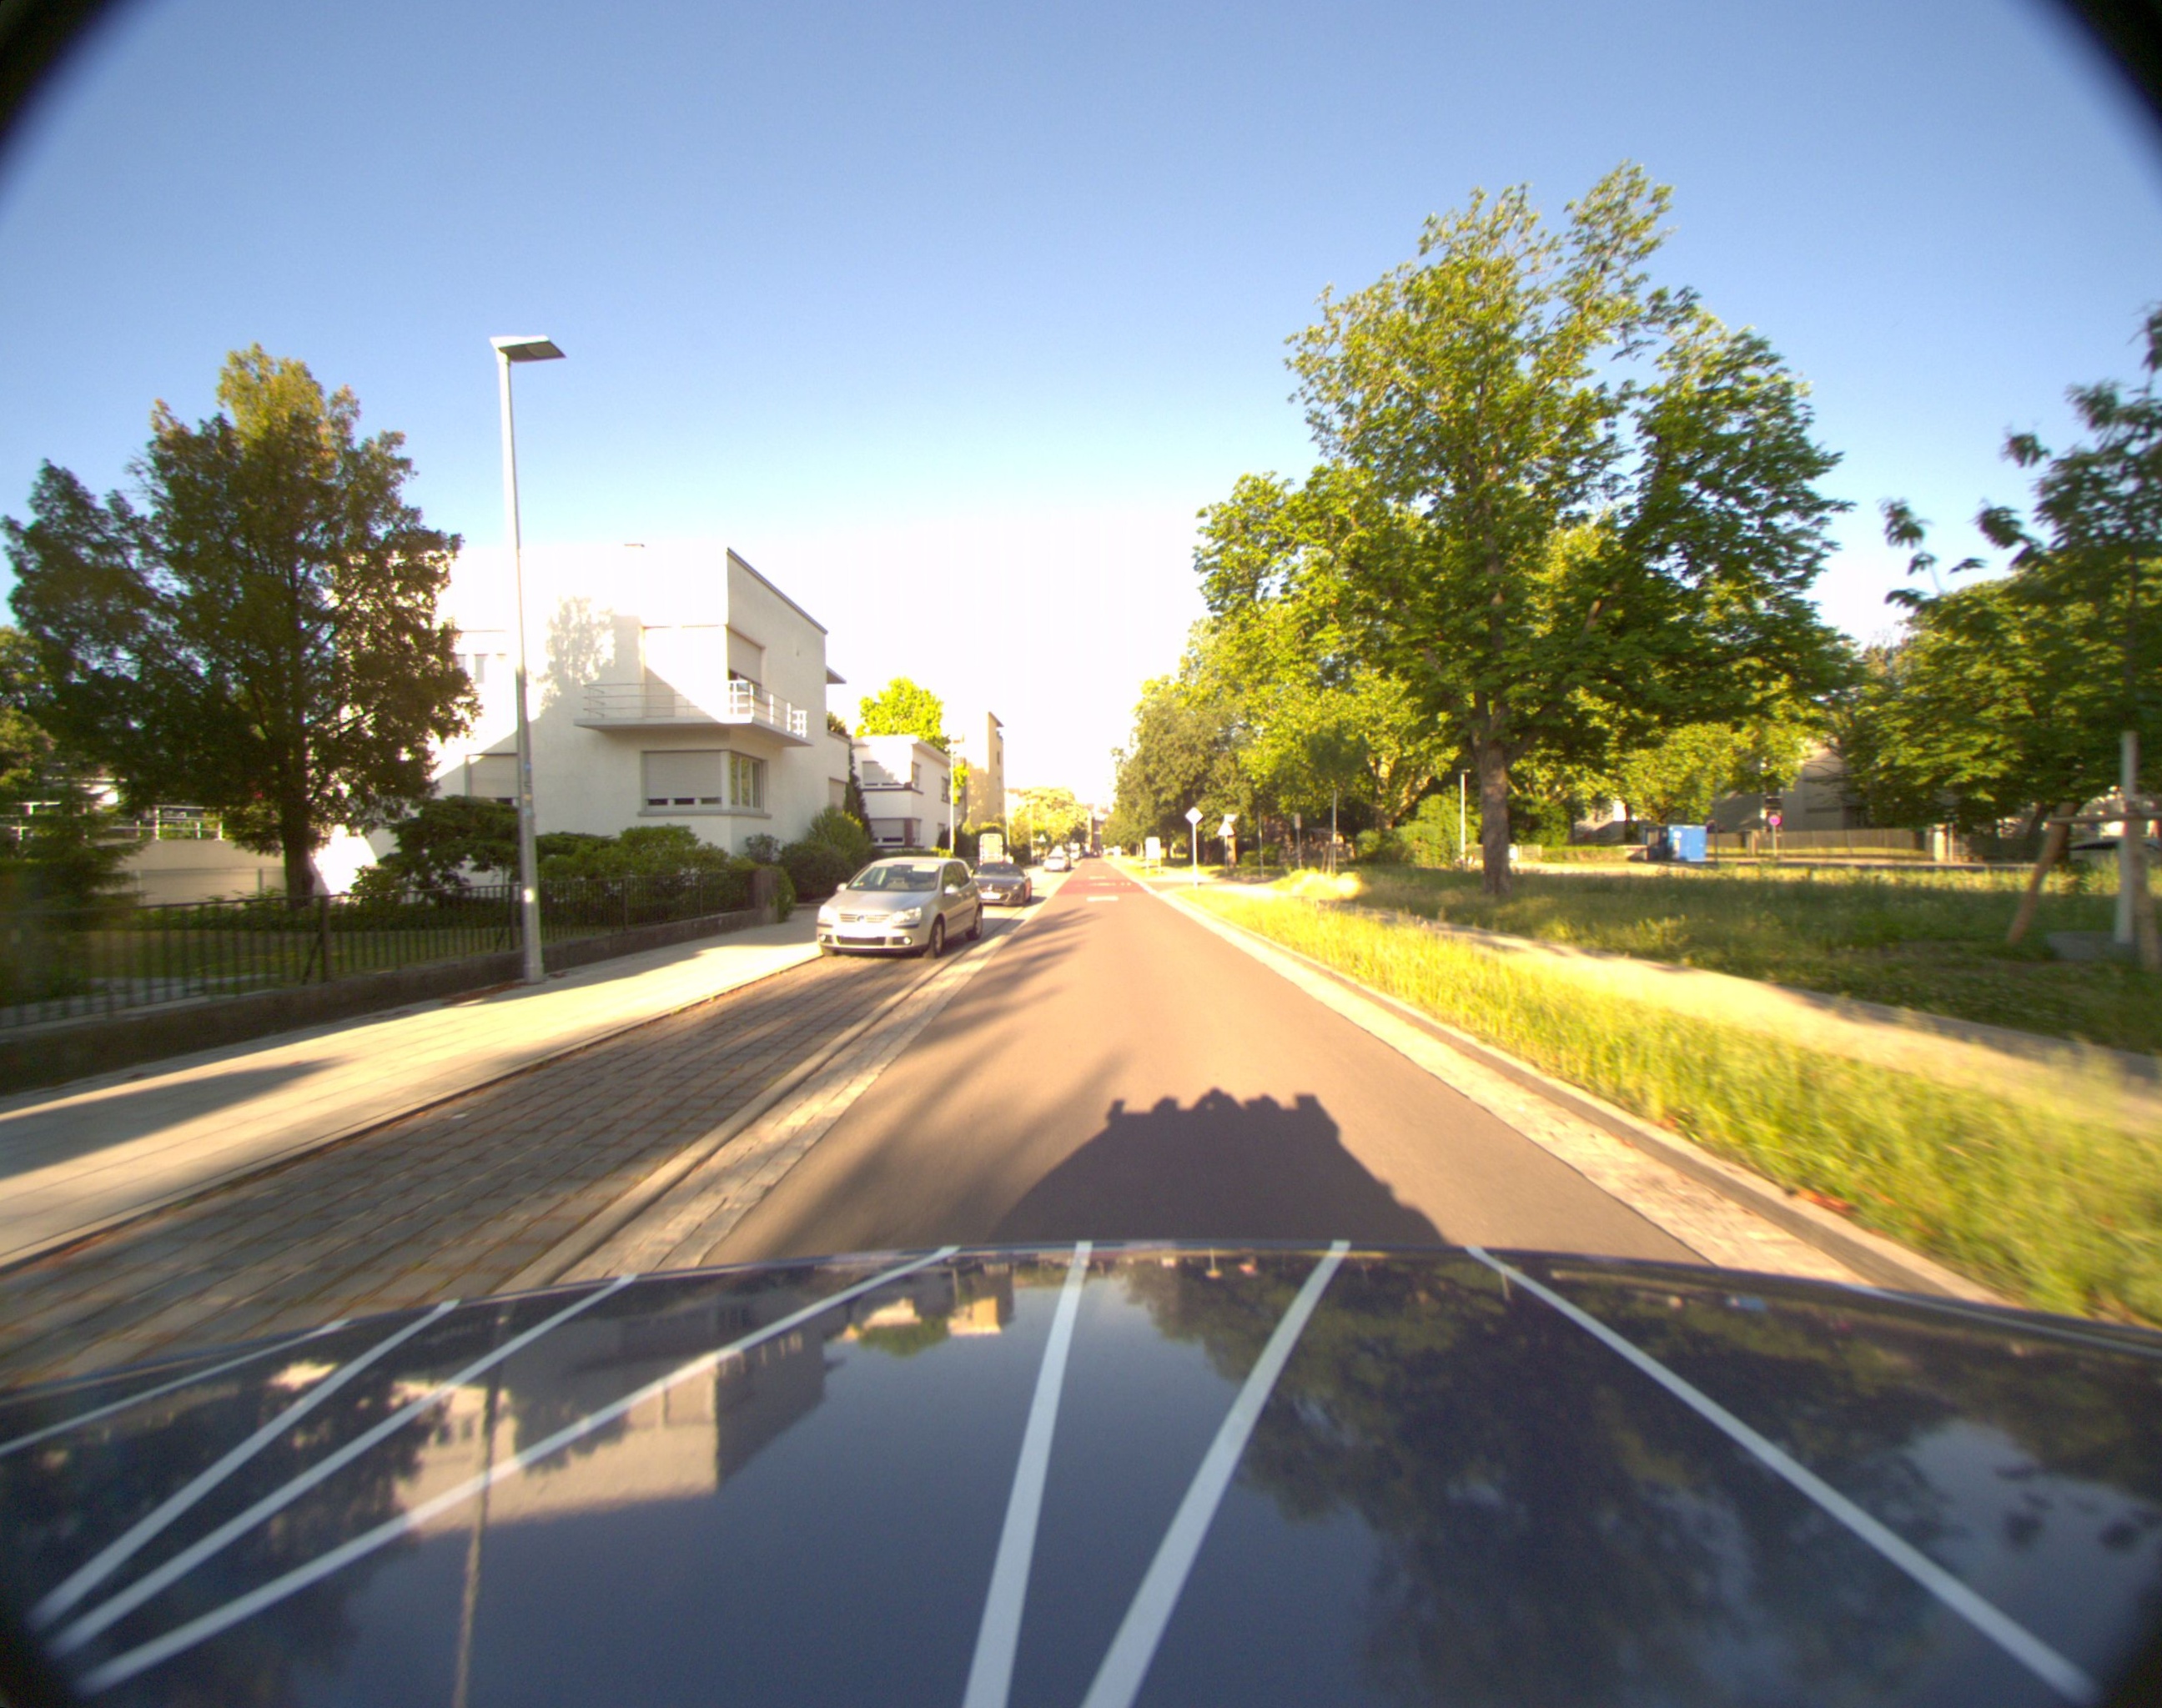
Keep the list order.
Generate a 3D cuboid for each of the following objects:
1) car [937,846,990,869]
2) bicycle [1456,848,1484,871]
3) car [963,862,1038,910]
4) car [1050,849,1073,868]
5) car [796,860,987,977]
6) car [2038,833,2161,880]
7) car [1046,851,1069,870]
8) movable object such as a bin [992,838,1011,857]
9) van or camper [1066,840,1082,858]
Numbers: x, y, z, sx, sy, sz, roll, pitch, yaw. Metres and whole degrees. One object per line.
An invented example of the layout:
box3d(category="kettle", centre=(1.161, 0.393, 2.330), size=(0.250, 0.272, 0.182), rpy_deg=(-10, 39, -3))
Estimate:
box3d(category="car", centre=(-8.698, 0.253, 56.344), size=(3.499, 1.632, 1.644), rpy_deg=(-2, 1, 9))
box3d(category="bicycle", centre=(20.973, 0.285, 40.956), size=(1.591, 1.180, 0.419), rpy_deg=(-2, 2, -22))
box3d(category="car", centre=(-2.416, 0.933, 23.793), size=(1.779, 1.281, 4.272), rpy_deg=(1, 0, 1))
box3d(category="car", centre=(-1.639, 0.378, 65.542), size=(1.682, 1.547, 4.130), rpy_deg=(0, 1, 2))
box3d(category="car", centre=(-2.818, 0.886, 12.253), size=(1.748, 1.465, 3.923), rpy_deg=(1, 1, 5))
box3d(category="car", centre=(37.912, 0.080, 27.010), size=(1.697, 1.588, 4.755), rpy_deg=(-2, 1, -2))
box3d(category="car", centre=(-1.847, 0.505, 60.411), size=(1.567, 1.382, 4.374), rpy_deg=(0, 1, 1))
box3d(category="movable object such as a bin", centre=(-6.278, -0.503, 60.167), size=(1.240, 1.424, 1.123), rpy_deg=(-2, 1, 3))
box3d(category="van or camper", centre=(-1.024, -0.832, 118.983), size=(2.427, 2.767, 5.951), rpy_deg=(1, 1, 0))
